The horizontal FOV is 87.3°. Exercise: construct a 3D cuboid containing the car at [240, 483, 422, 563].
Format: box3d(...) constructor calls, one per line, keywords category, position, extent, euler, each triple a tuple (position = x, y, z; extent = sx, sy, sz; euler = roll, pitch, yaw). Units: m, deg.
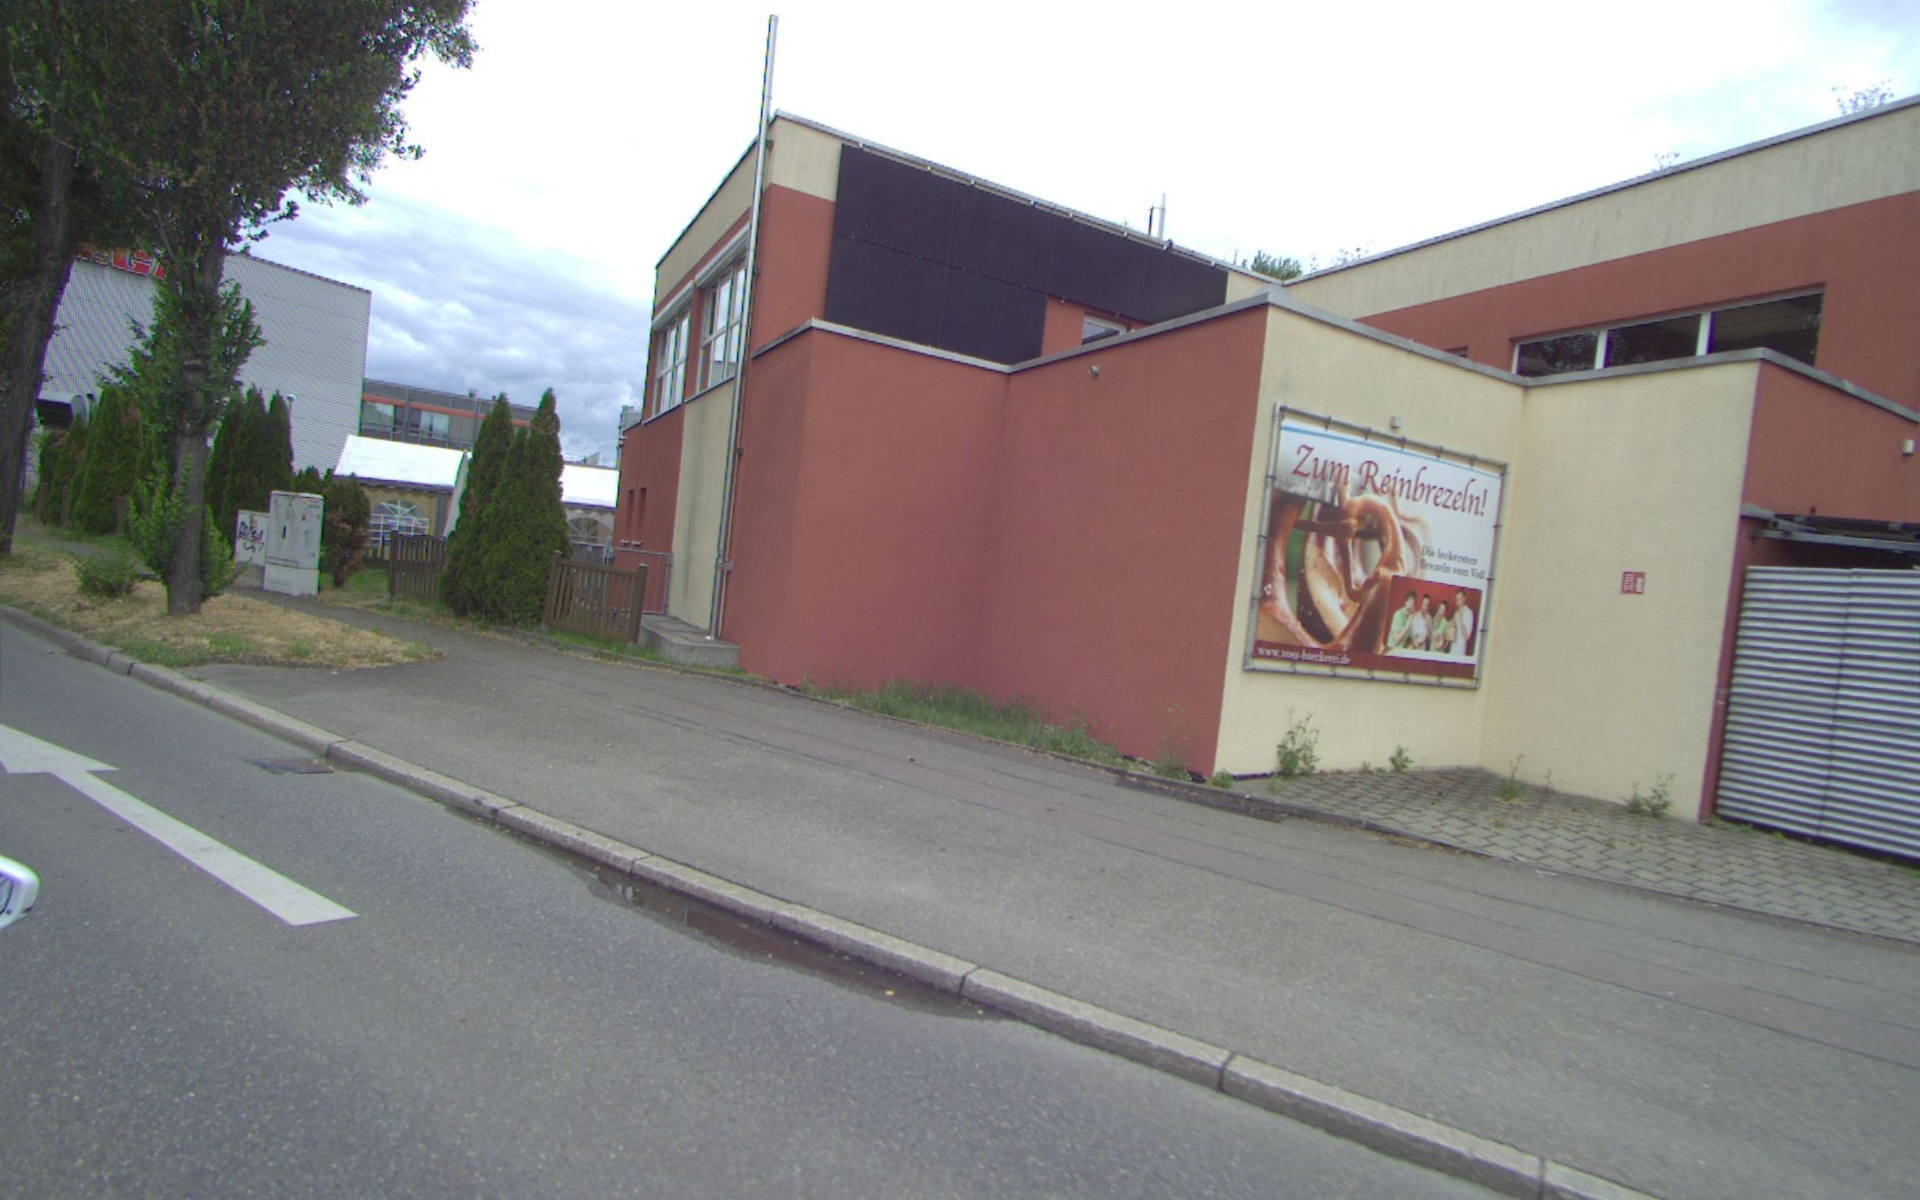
box3d(category="car", position=(-18.537, -2.233, 29.767), extent=(4.335, 1.727, 1.981), euler=(6, 1, -35))
